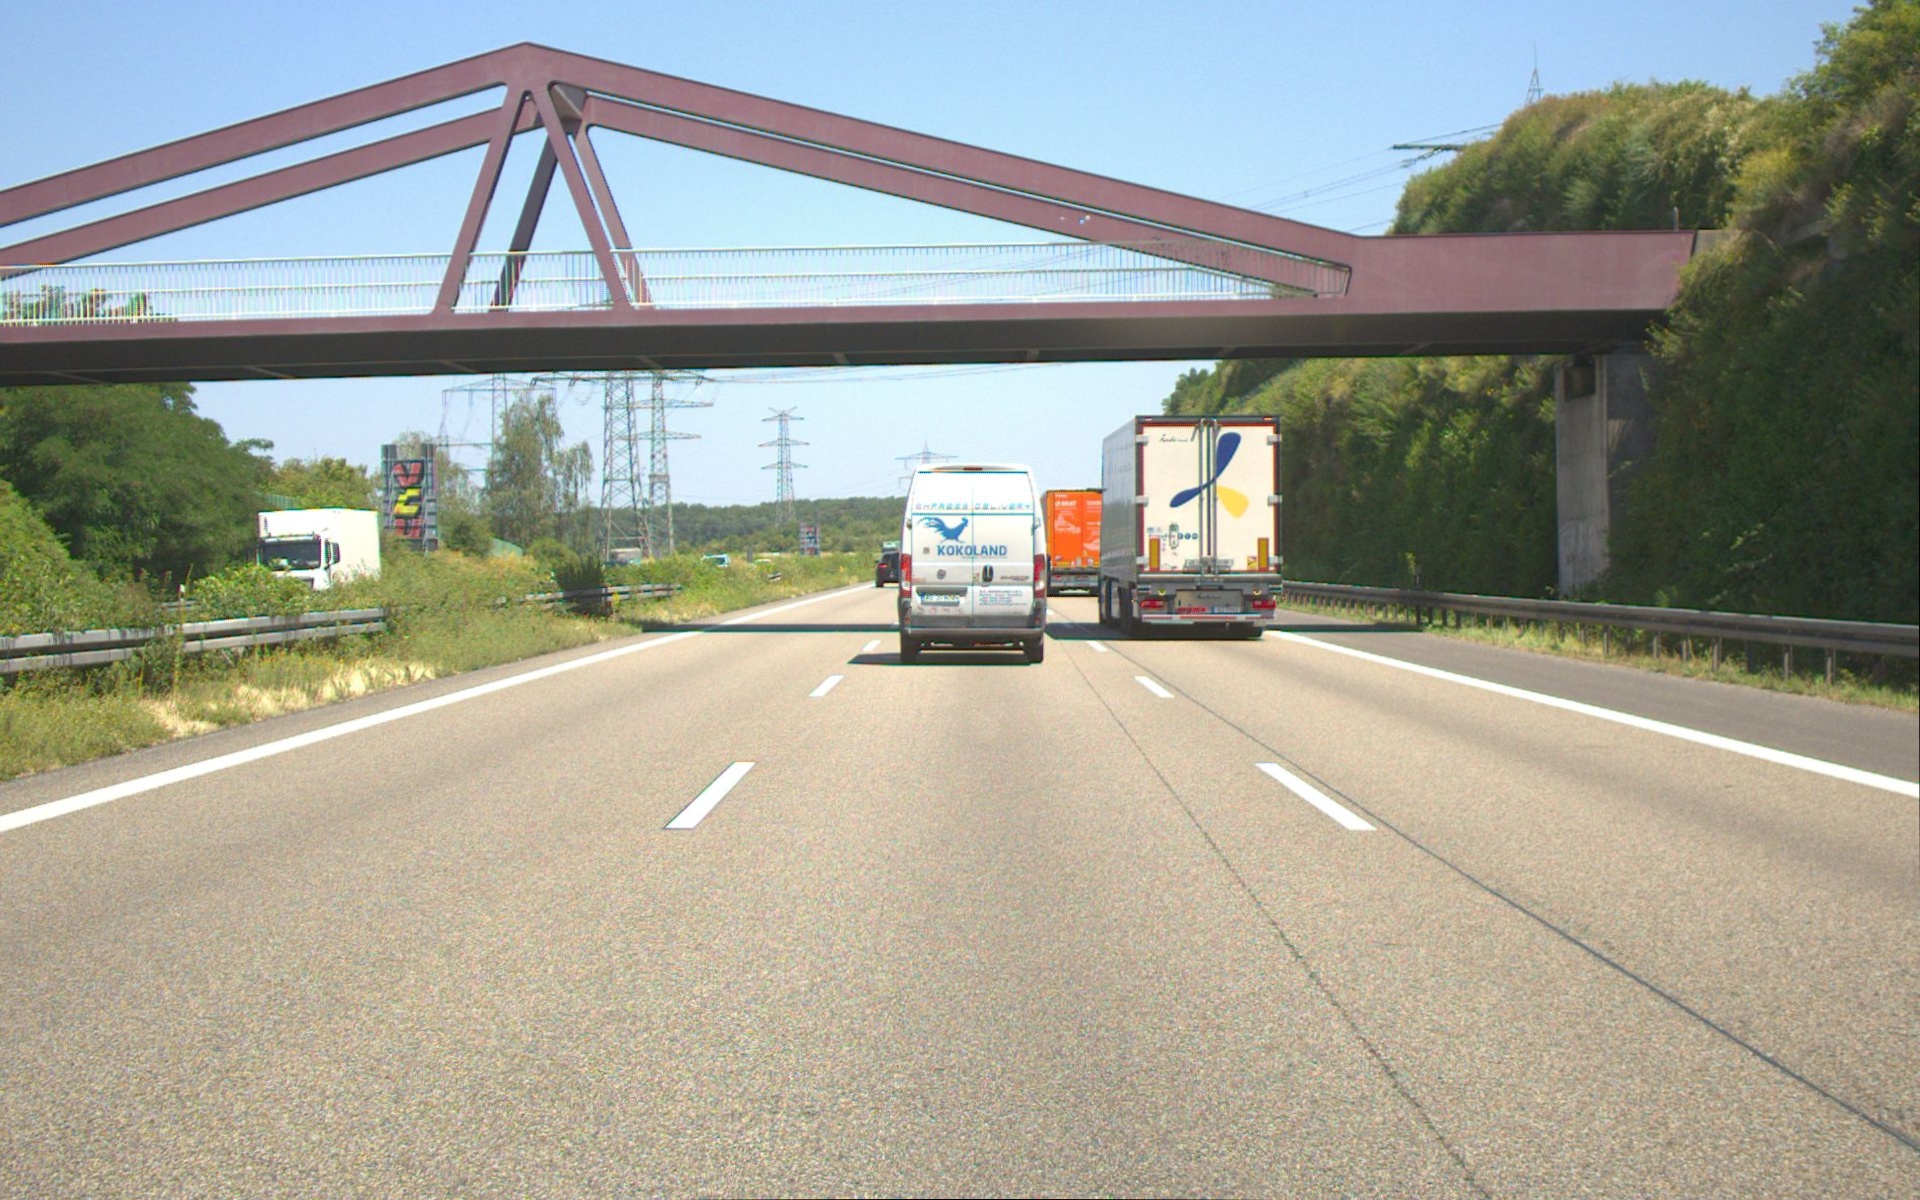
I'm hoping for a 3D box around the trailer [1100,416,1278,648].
[{"bbox_3d":[4.283,-1.301,66.771,2.637,4.046,12.366,1,1,0],"label":"trailer"}]

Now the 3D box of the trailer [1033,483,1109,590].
[{"bbox_3d":[4.164,-2.406,130.437,2.637,3.883,7.069,1,1,0],"label":"trailer"}]

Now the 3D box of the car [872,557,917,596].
[{"bbox_3d":[-3.153,-1.151,166.683,1.982,1.811,3.812,1,1,1],"label":"car"}]

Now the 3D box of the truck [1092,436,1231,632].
[{"bbox_3d":[4.324,-1.425,74.698,2.637,4.046,5.800,1,1,0],"label":"truck"}]

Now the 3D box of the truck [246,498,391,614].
[{"bbox_3d":[-20.818,-1.456,112.133,2.808,3.525,10.189,-2,1,-1],"label":"truck"}]

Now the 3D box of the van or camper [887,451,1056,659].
[{"bbox_3d":[0.137,-0.659,49.307,2.230,2.772,5.423,1,1,0],"label":"van or camper"}]

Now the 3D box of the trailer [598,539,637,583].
[{"bbox_3d":[-20.797,-2.391,208.840,1.800,2.609,4.407,1,1,2],"label":"trailer"}]
